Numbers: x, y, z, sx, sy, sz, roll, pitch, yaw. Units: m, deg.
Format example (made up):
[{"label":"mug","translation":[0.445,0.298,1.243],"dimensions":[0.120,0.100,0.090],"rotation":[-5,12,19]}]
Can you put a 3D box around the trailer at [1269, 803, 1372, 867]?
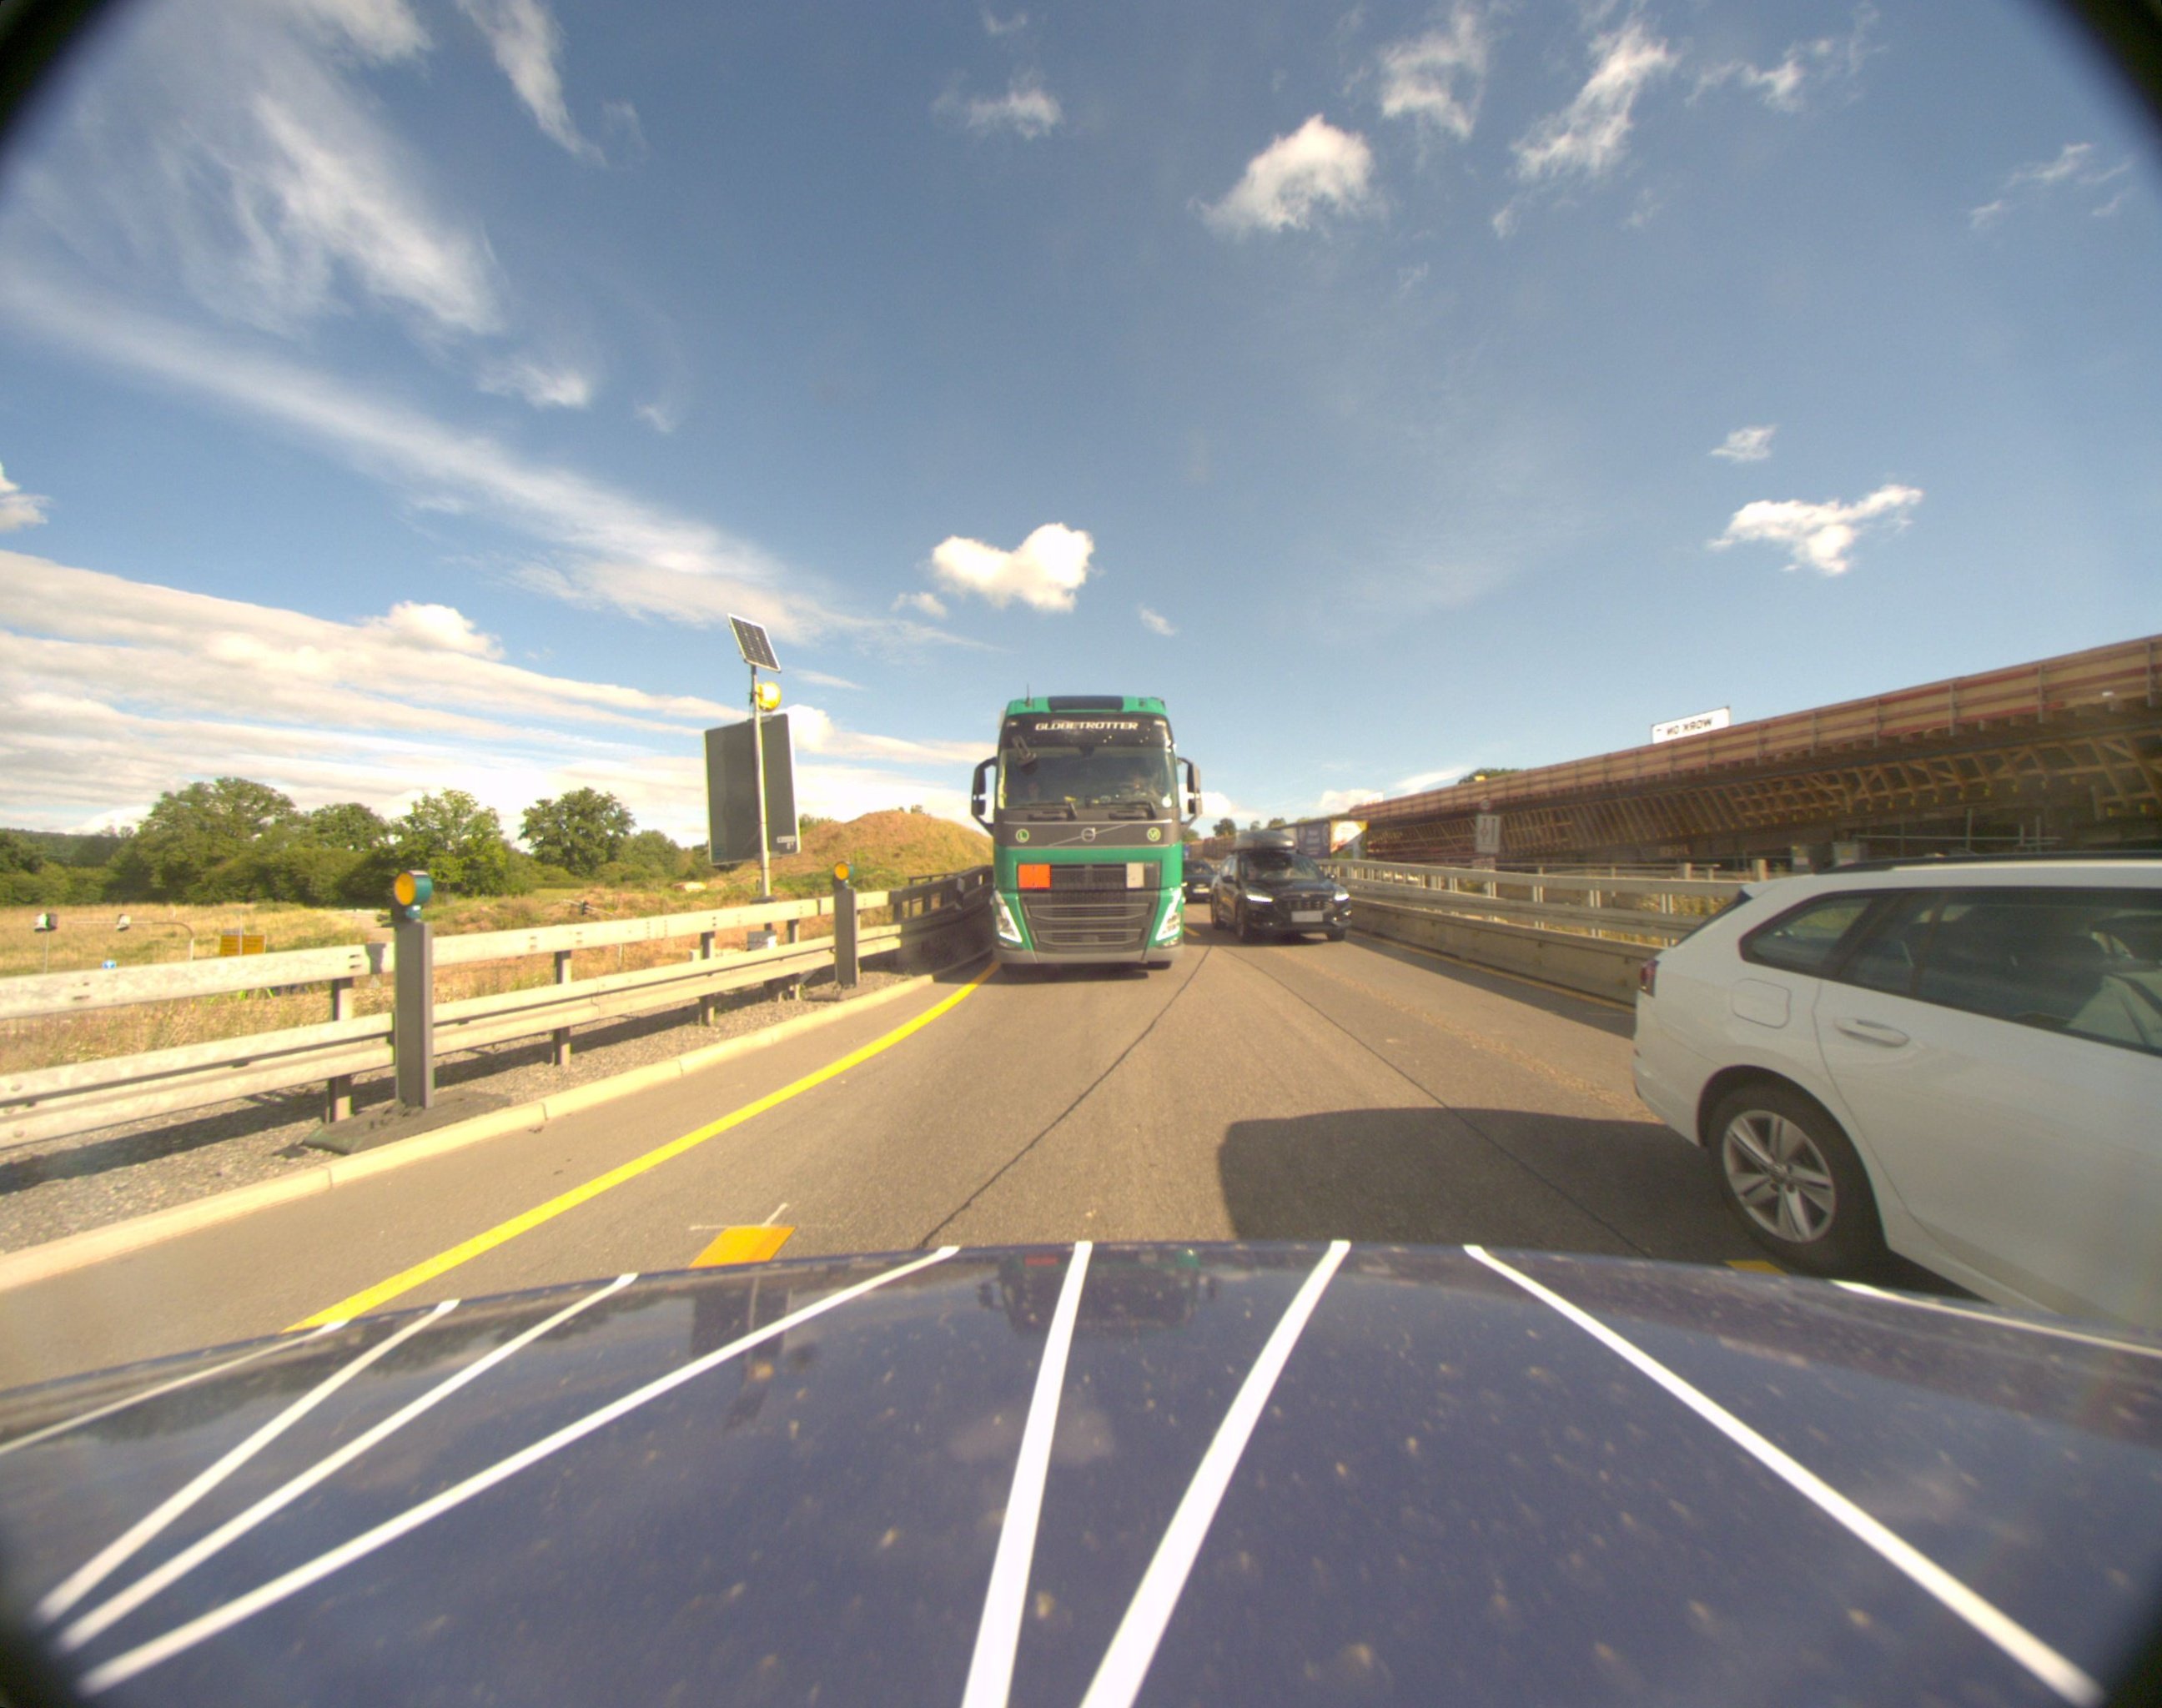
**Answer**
[{"label":"trailer","translation":[17.256,-1.307,56.241],"dimensions":[2.695,4.132,13.807],"rotation":[-2,1,-2]}]

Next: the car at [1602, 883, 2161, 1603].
[{"label":"car","translation":[3.257,0.916,1.243],"dimensions":[1.774,1.482,4.516],"rotation":[0,1,1]}]

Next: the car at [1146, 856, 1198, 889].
[{"label":"car","translation":[4.226,0.853,35.931],"dimensions":[1.949,1.422,4.408],"rotation":[-1,0,0]}]

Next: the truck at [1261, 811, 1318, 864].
[{"label":"truck","translation":[17.004,-1.317,62.359],"dimensions":[2.719,4.114,5.968],"rotation":[-2,1,-3]}]

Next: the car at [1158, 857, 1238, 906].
[{"label":"car","translation":[3.894,0.869,26.108],"dimensions":[1.949,1.422,4.503],"rotation":[-1,1,-1]}]

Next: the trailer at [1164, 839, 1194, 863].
[{"label":"trailer","translation":[15.737,-0.492,123.168],"dimensions":[2.870,3.645,13.526],"rotation":[-2,1,0]}]

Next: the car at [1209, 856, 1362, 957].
[{"label":"car","translation":[3.676,0.856,14.492],"dimensions":[1.804,1.533,4.384],"rotation":[-1,1,1]}]

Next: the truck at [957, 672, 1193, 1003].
[{"label":"truck","translation":[-0.169,-0.244,14.093],"dimensions":[2.664,3.825,10.315],"rotation":[-2,1,-1]}]
